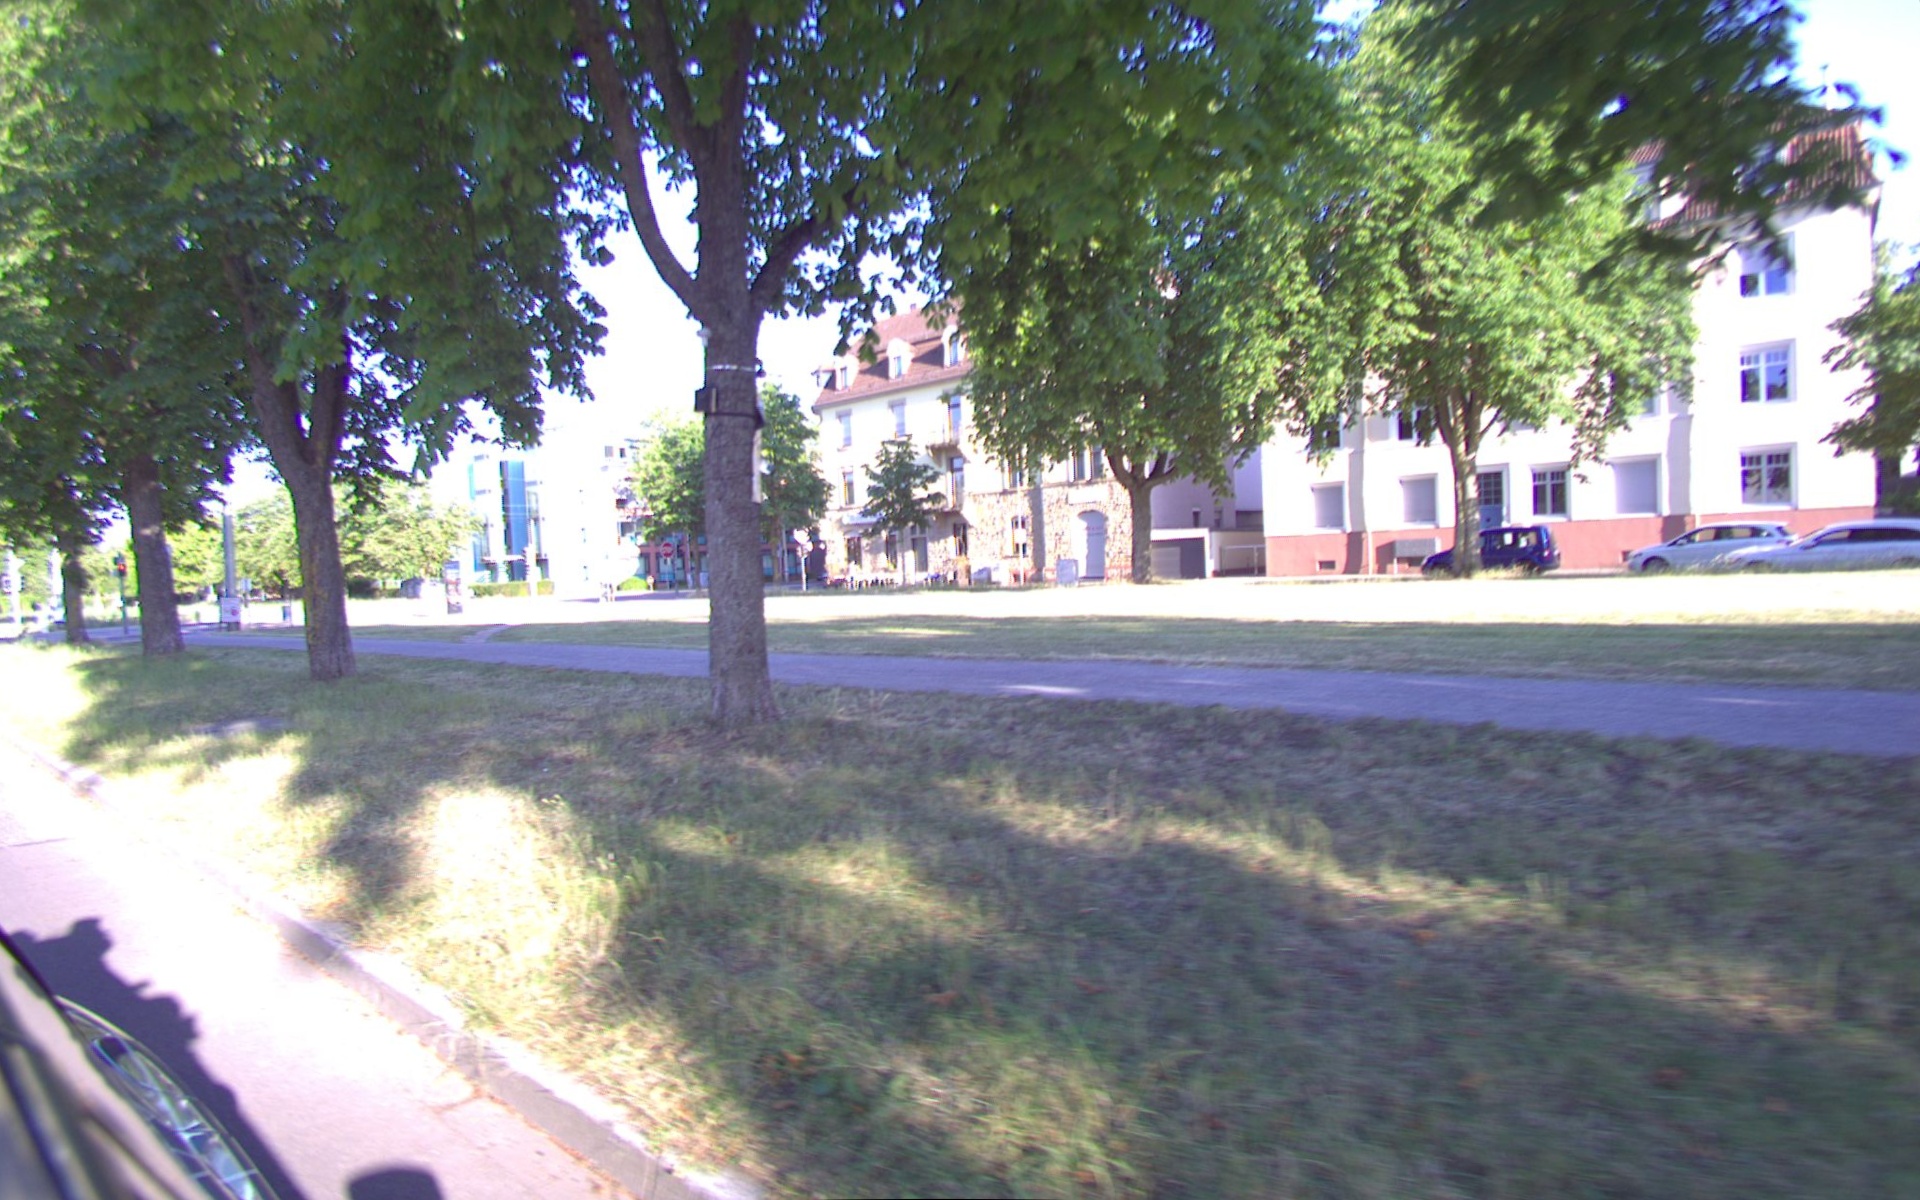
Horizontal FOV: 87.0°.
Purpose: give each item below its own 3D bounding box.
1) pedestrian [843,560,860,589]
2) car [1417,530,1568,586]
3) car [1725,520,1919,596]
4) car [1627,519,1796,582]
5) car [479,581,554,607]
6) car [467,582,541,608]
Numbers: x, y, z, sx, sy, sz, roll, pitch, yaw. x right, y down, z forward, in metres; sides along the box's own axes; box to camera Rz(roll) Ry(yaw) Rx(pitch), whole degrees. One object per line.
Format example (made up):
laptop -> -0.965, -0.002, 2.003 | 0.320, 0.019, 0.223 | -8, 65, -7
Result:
pedestrian -> -6.389, -1.520, 59.772 | 0.682, 1.636, 0.610 | 0, 5, 39
car -> 18.649, -1.451, 35.526 | 4.312, 1.748, 1.973 | 0, 5, 43
car -> 21.689, -1.012, 24.760 | 4.571, 1.670, 1.973 | 0, 5, 43
car -> 23.079, -1.507, 31.144 | 4.000, 1.670, 1.973 | 0, 6, 43
car -> -35.626, -0.500, 81.463 | 1.998, 1.683, 5.158 | 0, 4, 38
car -> -37.325, -0.441, 83.022 | 1.965, 1.683, 5.159 | 0, 5, 38
